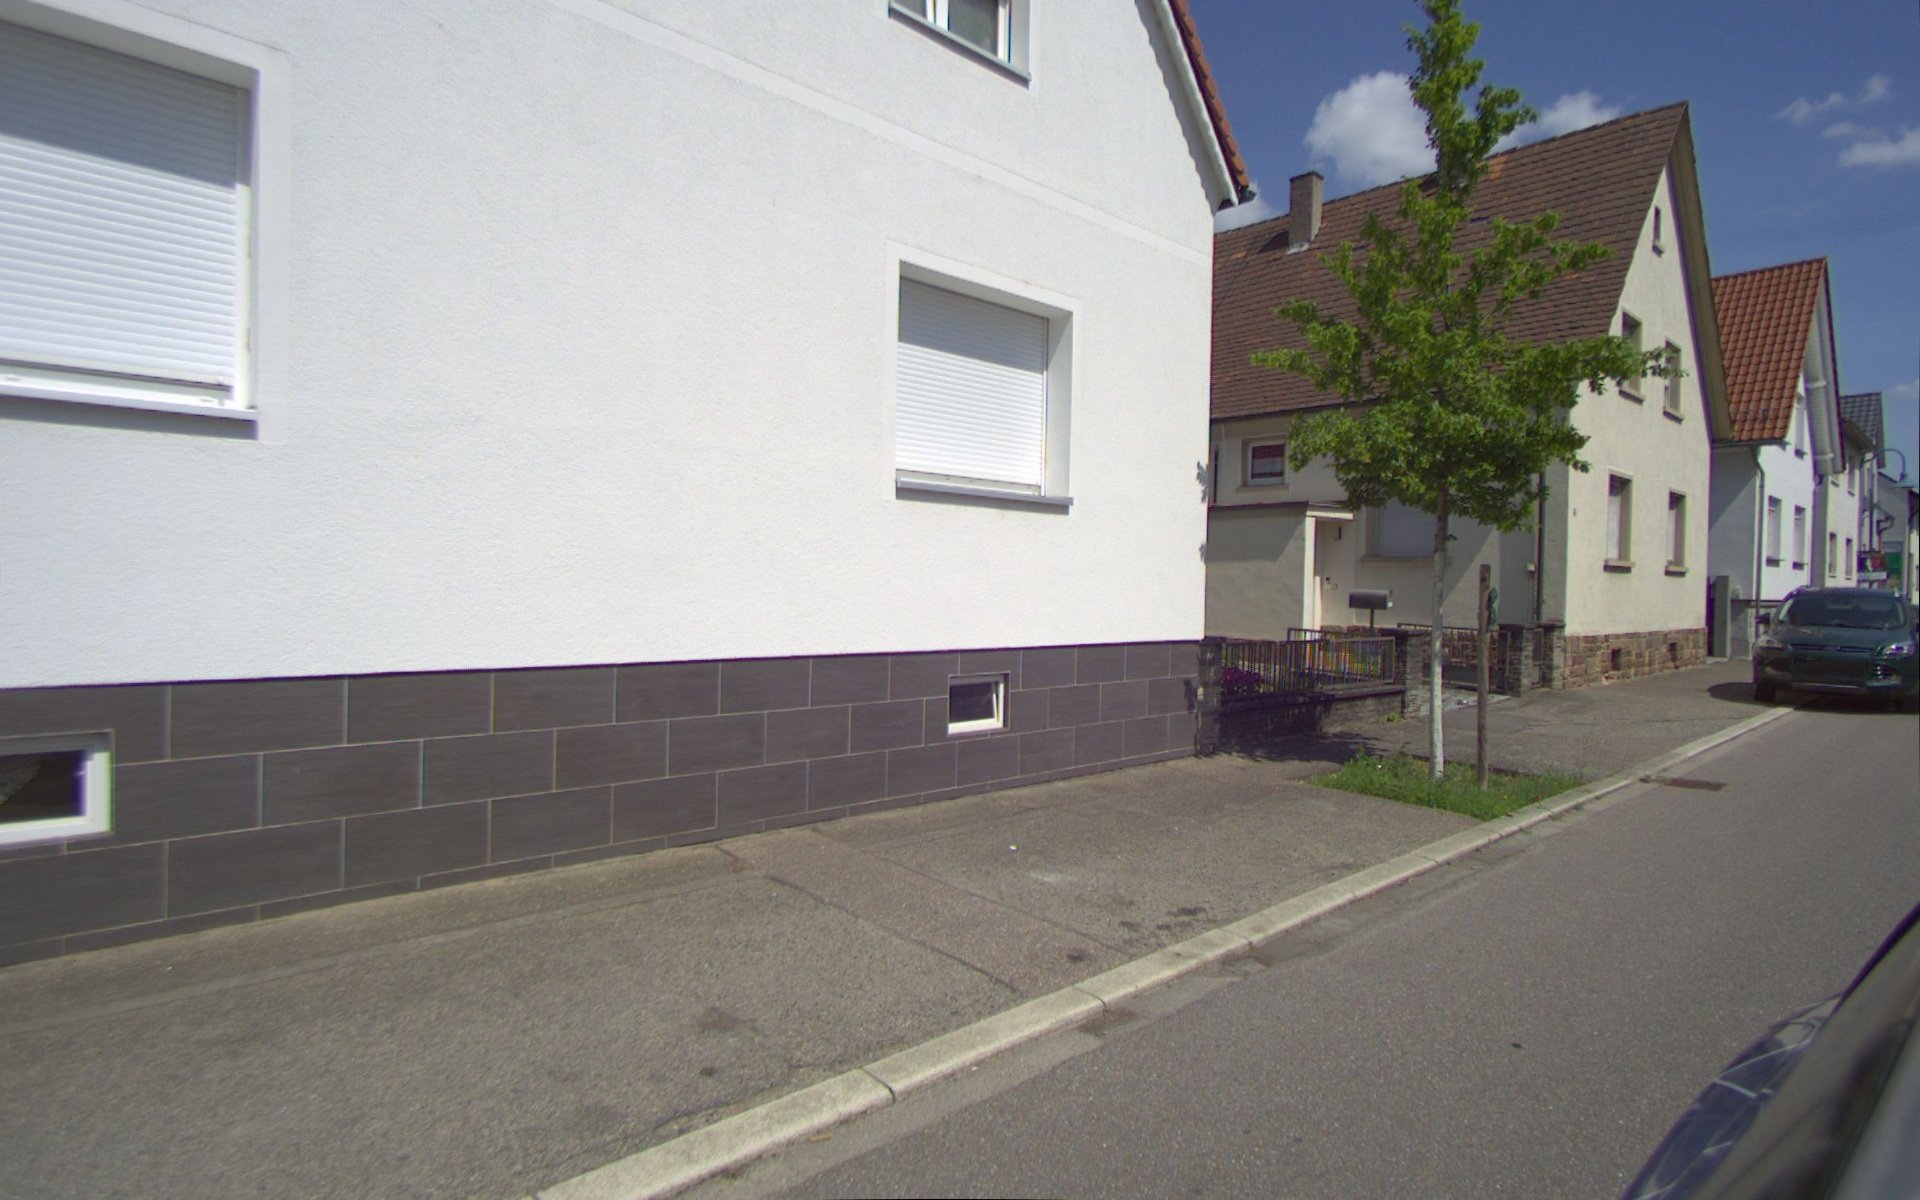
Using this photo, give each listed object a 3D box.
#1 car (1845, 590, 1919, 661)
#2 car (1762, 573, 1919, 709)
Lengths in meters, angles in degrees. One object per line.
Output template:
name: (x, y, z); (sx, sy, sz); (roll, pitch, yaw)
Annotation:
car: (22.527, 0.578, 24.176); (3.904, 1.514, 1.620); (0, 4, -43)
car: (13.279, 0.506, 14.956); (4.206, 1.738, 1.730); (0, 1, -45)
